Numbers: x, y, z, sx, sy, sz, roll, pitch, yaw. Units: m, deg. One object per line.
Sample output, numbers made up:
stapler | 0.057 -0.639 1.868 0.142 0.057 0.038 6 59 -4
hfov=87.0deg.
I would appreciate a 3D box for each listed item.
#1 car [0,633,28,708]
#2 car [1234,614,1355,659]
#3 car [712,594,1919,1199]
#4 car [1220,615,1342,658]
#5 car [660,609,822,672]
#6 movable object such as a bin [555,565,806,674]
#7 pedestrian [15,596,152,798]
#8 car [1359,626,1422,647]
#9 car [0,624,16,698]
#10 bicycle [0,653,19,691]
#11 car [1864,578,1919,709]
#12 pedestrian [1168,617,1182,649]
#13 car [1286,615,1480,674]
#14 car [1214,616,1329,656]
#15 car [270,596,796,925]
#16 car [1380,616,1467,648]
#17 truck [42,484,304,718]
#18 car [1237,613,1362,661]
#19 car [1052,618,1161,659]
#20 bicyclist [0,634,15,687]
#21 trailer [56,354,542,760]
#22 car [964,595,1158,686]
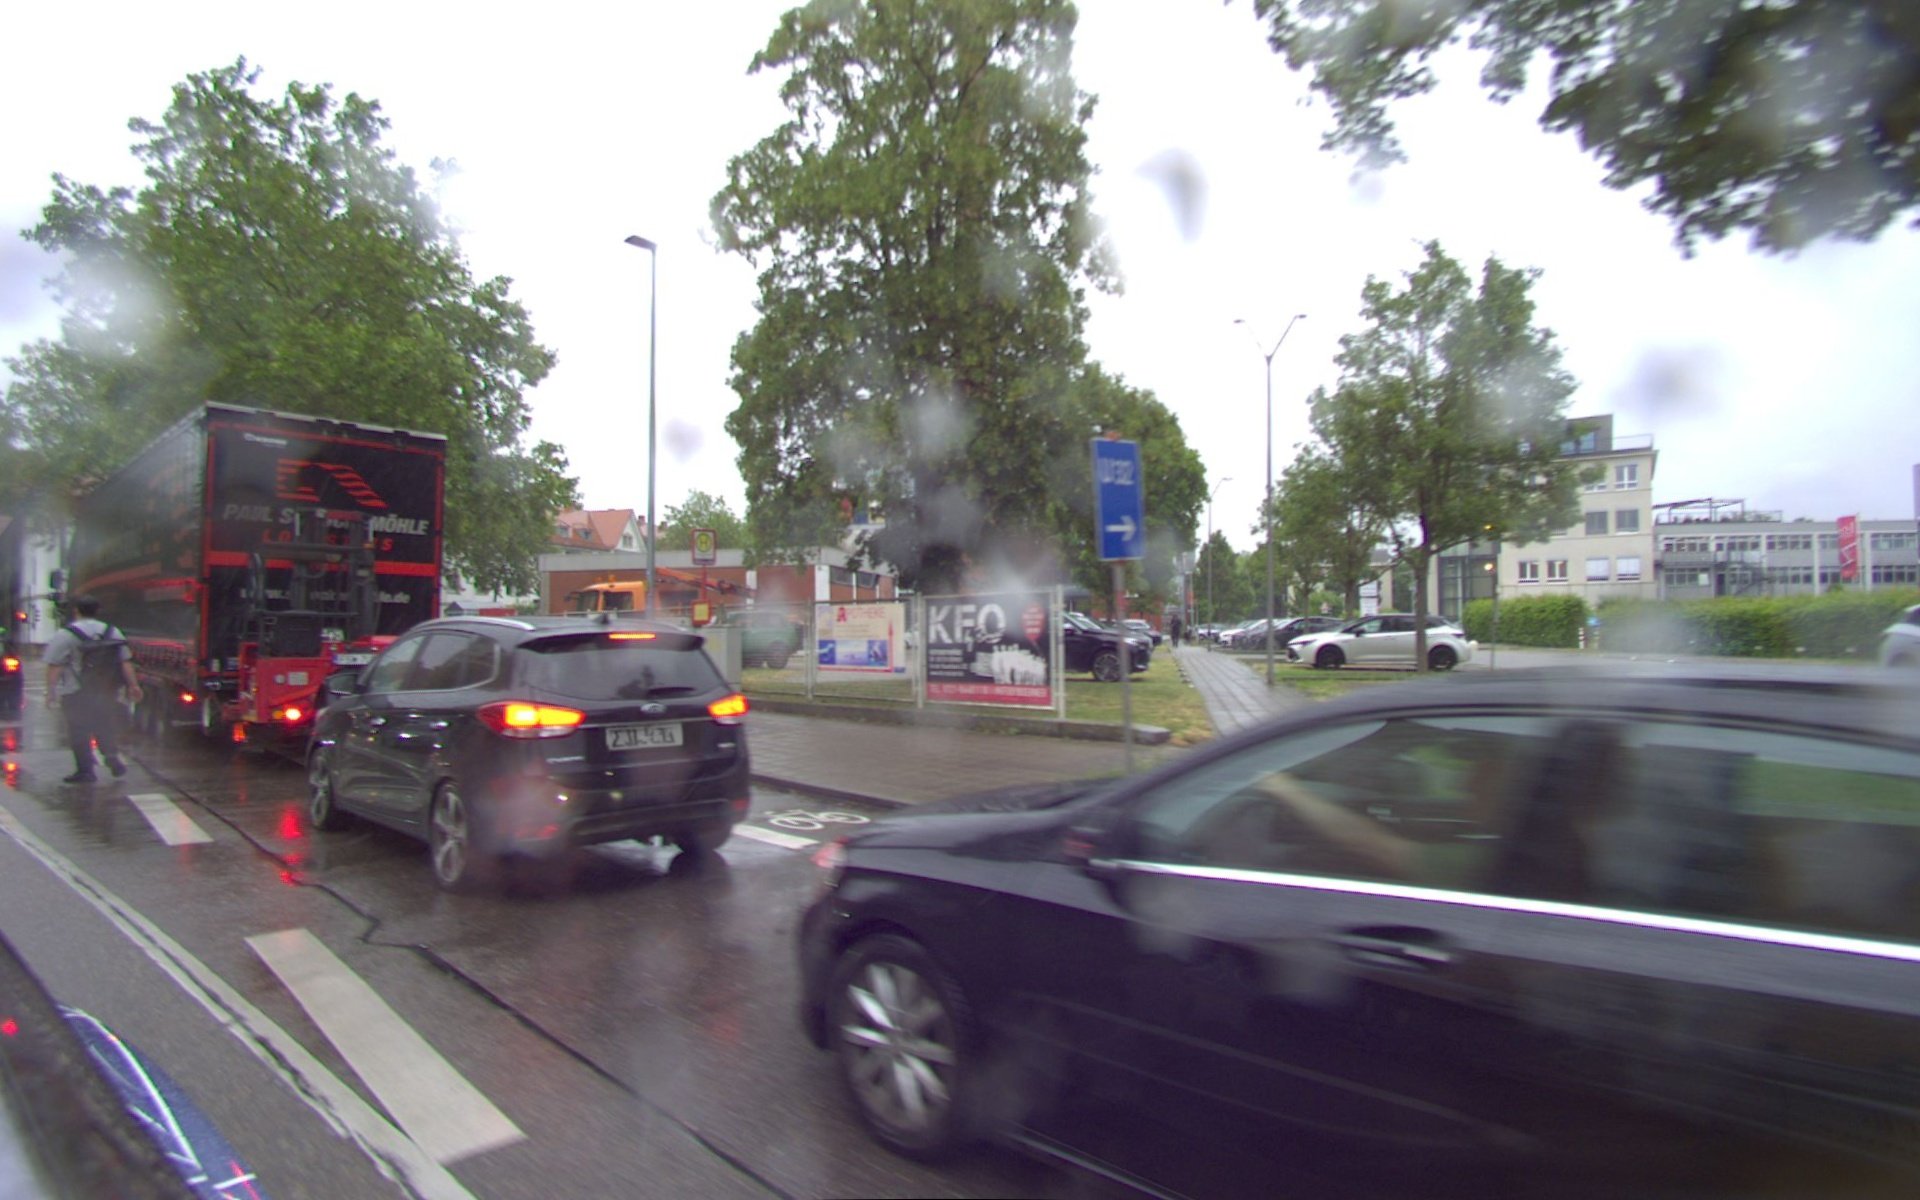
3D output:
car | -19.549 1.385 19.635 4.096 1.384 1.681 -3 -3 40
car | 14.081 1.549 42.833 4.535 1.750 1.994 -2 -2 9
car | 1.290 0.732 2.455 1.706 1.371 4.340 2 -4 -44
car | 14.254 1.637 45.202 4.848 1.750 1.994 -2 -2 9
car | -6.103 1.115 28.338 3.936 1.613 2.004 0 -3 -39
movable object such as a bin | -8.278 0.579 30.294 6.667 2.953 2.781 0 -2 -36
pedestrian | -8.591 0.914 9.975 0.856 1.857 0.995 1 -3 -33
car | 33.065 2.831 77.829 4.179 1.536 1.743 -2 -2 15
car | -24.470 1.567 24.155 4.922 1.695 2.054 -4 -1 38
bicycle | -27.446 2.042 28.746 1.867 1.032 0.528 -2 -3 31
car | 13.248 0.513 11.767 2.026 1.720 4.628 -1 -2 13
pedestrian | 11.422 1.745 53.742 0.671 1.697 0.777 -1 -3 13
car | 10.612 1.131 25.675 4.265 1.389 1.617 -1 -2 13
car | 14.599 1.709 47.717 4.848 1.736 1.994 -2 -2 9
car | -3.383 0.826 7.398 4.805 1.632 1.846 0 -1 45
car | 31.024 2.170 67.878 4.896 2.029 1.994 -2 -2 10
truck | -16.839 0.158 21.464 6.975 4.110 3.412 -3 -3 44
car | 13.497 1.480 40.454 4.372 1.750 1.994 -2 -2 9
car | 6.785 1.762 46.735 4.758 1.755 2.160 -2 -2 14
bicyclist | -27.479 1.717 28.789 1.007 1.472 0.575 -2 -3 31
trailer | -11.792 -0.124 16.619 15.053 4.080 3.404 -3 -3 44
car | 2.219 0.889 21.848 3.959 1.804 1.992 -1 -2 12
